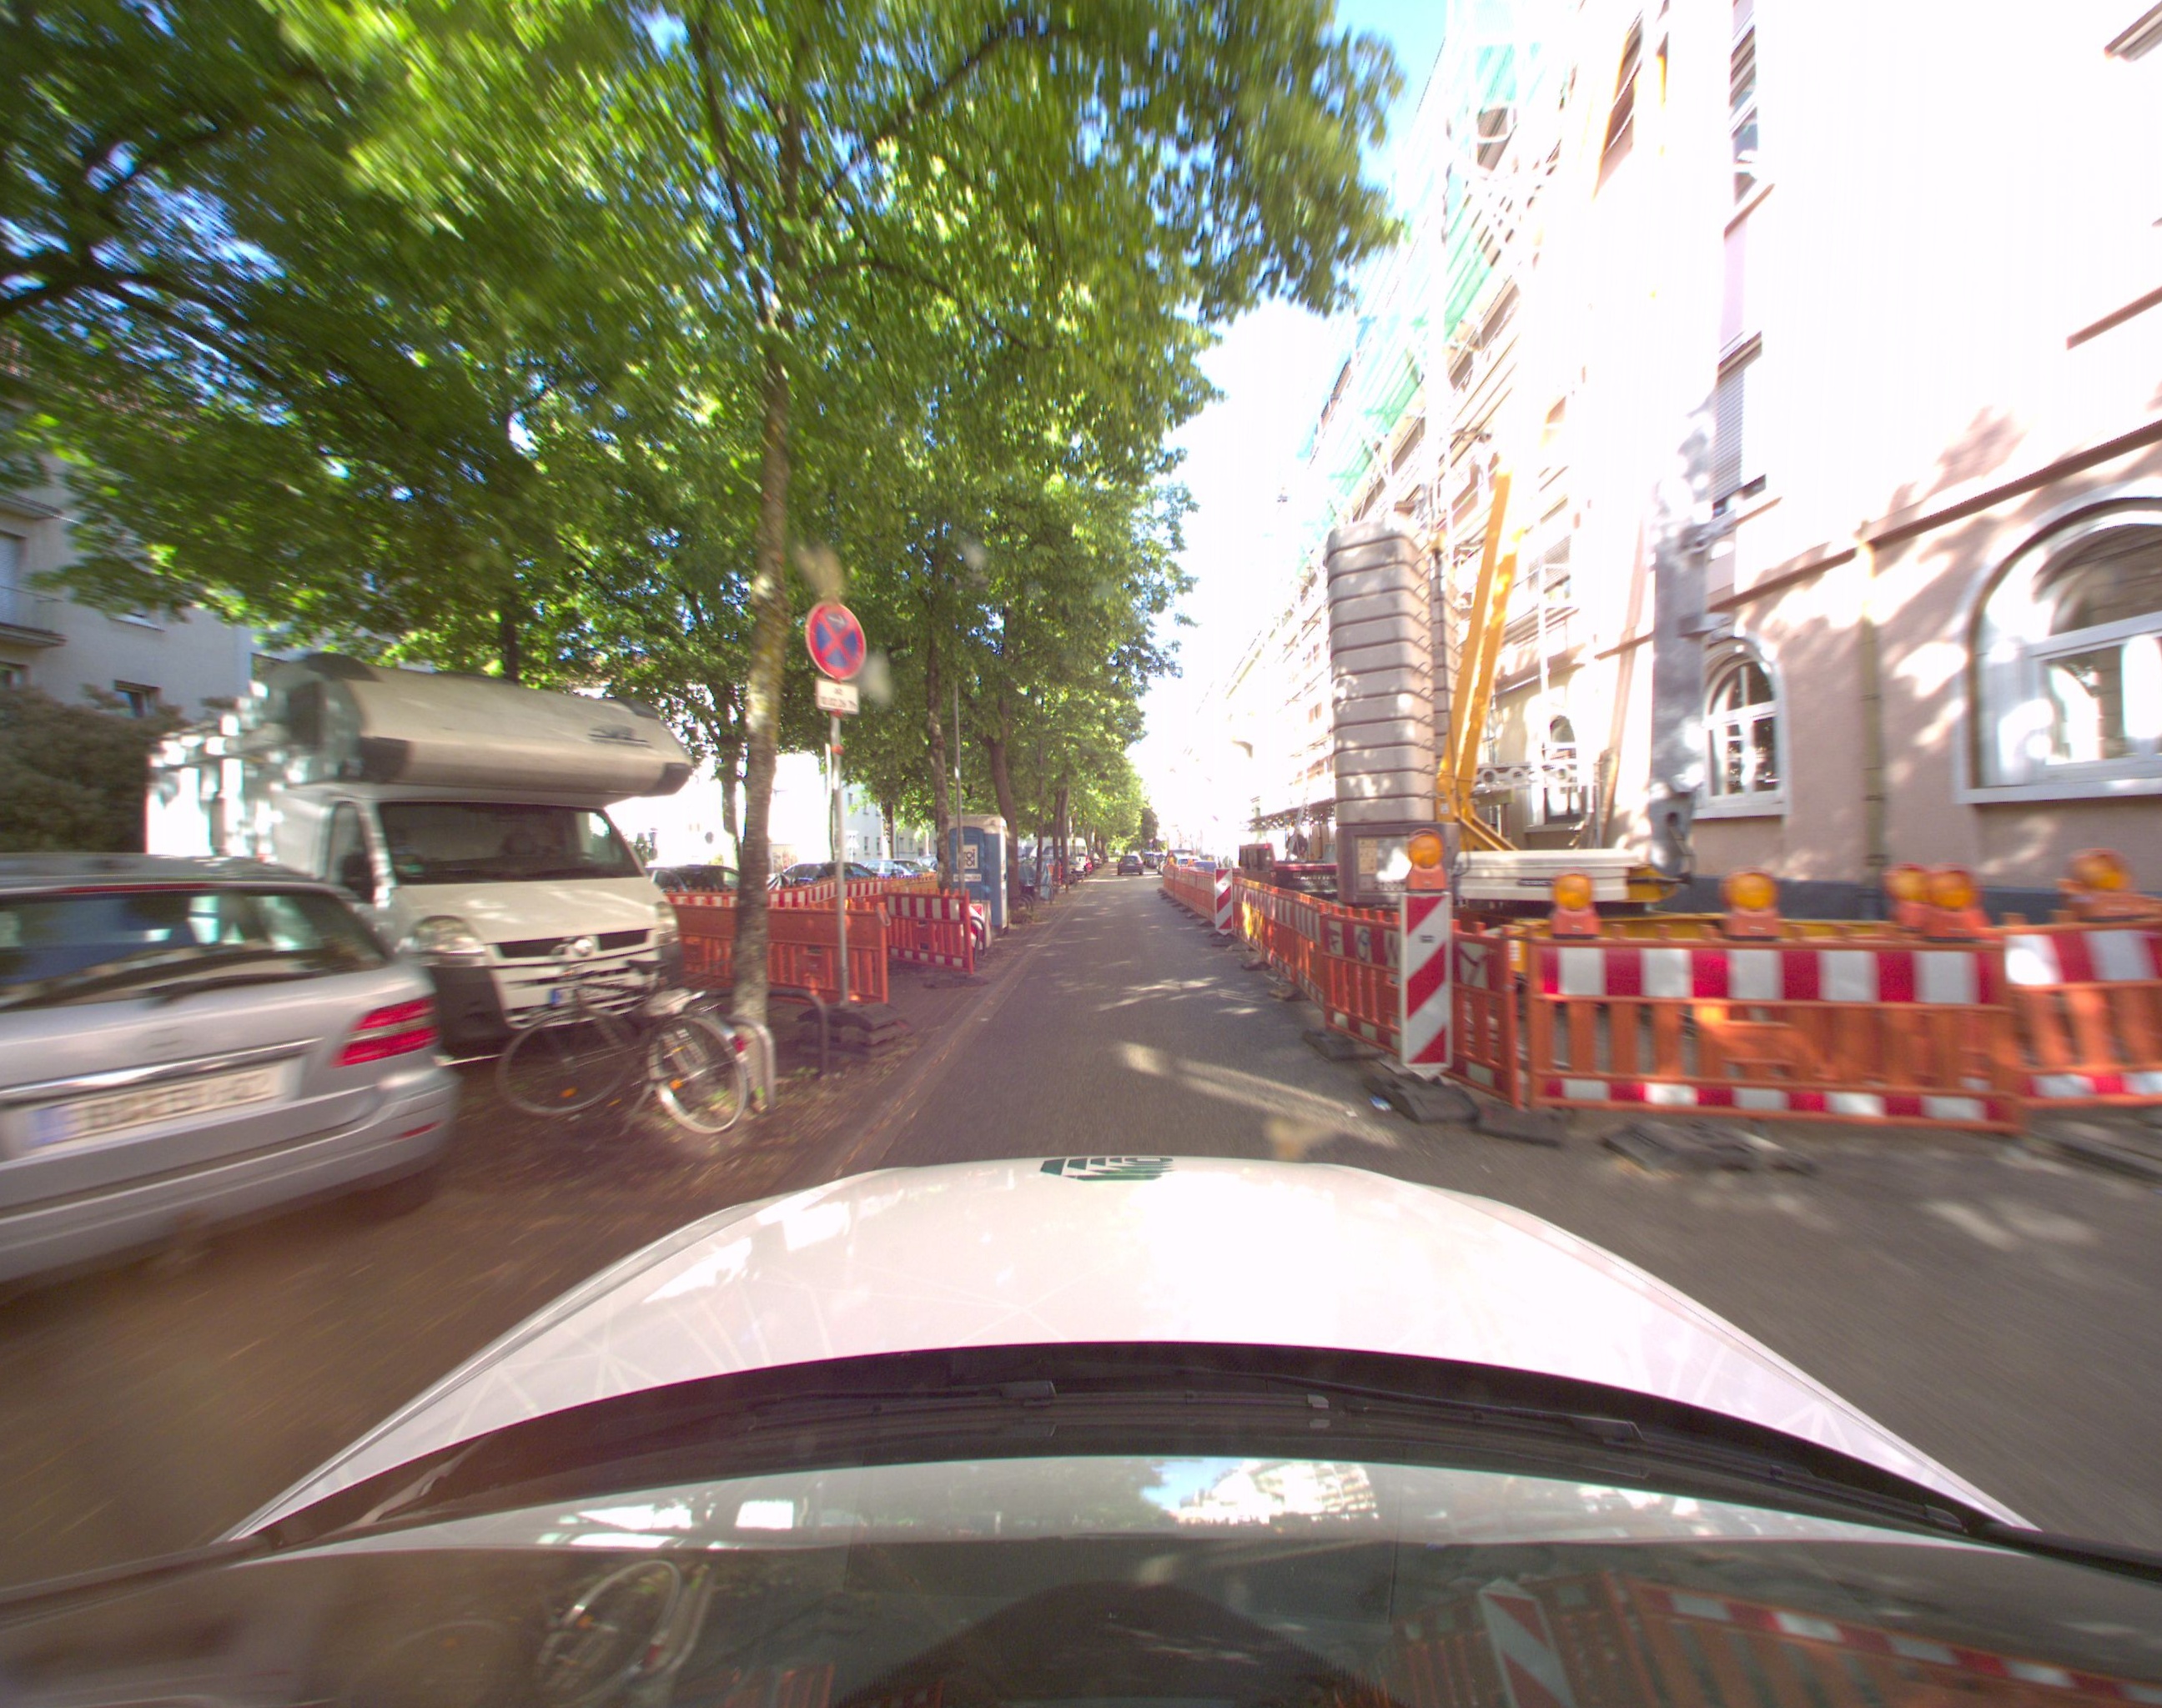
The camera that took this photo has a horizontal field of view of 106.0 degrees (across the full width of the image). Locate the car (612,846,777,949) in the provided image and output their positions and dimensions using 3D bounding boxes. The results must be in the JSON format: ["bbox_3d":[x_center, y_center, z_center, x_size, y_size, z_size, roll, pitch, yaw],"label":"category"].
[{"bbox_3d":[-7.182,0.766,15.078,2.954,1.717,1.431,-2,0,34],"label":"car"}]

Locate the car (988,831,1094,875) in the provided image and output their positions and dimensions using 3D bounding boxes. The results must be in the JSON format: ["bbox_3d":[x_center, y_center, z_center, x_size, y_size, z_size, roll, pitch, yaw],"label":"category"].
[{"bbox_3d":[-2.473,-0.025,49.314,6.246,2.559,2.353,-1,-1,35],"label":"car"}]

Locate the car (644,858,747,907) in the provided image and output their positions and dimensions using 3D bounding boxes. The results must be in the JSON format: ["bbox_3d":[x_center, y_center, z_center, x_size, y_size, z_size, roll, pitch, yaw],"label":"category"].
[{"bbox_3d":[-13.607,0.949,29.036,1.615,1.574,4.194,-1,0,1],"label":"car"}]

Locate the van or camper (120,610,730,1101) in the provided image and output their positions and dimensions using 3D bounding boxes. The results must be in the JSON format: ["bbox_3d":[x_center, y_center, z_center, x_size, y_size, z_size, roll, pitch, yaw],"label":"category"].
[{"bbox_3d":[-6.265,0.074,7.538,5.955,3.002,2.415,-2,0,31],"label":"van or camper"}]

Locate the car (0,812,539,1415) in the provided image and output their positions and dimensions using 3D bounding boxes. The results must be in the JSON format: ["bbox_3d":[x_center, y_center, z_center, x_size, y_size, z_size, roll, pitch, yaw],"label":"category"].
[{"bbox_3d":[-4.513,0.750,3.449,3.951,1.616,1.807,-2,0,24],"label":"car"}]

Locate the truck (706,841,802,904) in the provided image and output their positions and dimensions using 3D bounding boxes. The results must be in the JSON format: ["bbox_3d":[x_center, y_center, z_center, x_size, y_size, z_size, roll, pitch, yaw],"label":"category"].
[{"bbox_3d":[-13.549,0.724,34.084,1.913,2.409,4.270,-2,0,5],"label":"truck"}]

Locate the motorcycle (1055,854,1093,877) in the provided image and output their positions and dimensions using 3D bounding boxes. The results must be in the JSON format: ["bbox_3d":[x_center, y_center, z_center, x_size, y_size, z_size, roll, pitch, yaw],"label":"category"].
[{"bbox_3d":[-0.446,0.729,52.115,2.316,1.335,0.967,-2,0,-7],"label":"motorcycle"}]

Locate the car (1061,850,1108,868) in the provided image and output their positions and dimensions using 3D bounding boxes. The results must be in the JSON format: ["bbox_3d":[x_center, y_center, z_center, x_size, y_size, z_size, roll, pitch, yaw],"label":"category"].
[{"bbox_3d":[0.265,0.469,72.514,3.968,1.474,1.637,-2,0,38],"label":"car"}]

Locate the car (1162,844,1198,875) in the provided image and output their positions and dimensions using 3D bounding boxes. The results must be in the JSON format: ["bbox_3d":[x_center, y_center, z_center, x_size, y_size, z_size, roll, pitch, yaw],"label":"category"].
[{"bbox_3d":[6.045,0.340,50.099,1.764,1.794,3.991,-2,0,2],"label":"car"}]

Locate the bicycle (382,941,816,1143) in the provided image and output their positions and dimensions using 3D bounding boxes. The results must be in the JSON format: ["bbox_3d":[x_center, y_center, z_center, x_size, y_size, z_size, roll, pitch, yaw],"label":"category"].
[{"bbox_3d":[-2.743,1.030,4.639,2.359,0.978,0.503,-2,0,11],"label":"bicycle"}]

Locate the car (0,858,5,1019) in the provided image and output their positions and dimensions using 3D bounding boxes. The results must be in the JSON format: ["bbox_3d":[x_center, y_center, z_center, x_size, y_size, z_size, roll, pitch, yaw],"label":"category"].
[{"bbox_3d":[-14.353,1.063,8.087,1.615,2.013,4.267,-1,0,1],"label":"car"}]

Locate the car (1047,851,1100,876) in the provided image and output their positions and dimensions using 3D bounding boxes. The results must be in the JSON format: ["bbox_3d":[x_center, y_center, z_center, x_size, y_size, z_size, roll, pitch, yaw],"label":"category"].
[{"bbox_3d":[-0.563,0.675,56.369,1.671,1.618,3.837,-2,0,-37],"label":"car"}]

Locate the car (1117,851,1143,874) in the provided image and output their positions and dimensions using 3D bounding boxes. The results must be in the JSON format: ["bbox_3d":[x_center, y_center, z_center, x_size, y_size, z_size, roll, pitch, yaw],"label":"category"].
[{"bbox_3d":[3.514,0.574,57.372,1.706,1.483,4.149,-2,0,4],"label":"car"}]

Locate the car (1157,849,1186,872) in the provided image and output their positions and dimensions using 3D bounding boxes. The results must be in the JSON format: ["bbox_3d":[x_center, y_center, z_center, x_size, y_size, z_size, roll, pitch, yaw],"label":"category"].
[{"bbox_3d":[6.169,0.436,55.834,1.601,1.420,4.570,-2,0,2],"label":"car"}]

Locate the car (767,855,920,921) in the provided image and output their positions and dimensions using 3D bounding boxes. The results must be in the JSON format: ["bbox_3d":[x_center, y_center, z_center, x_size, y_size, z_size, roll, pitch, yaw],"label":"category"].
[{"bbox_3d":[-6.176,0.873,21.041,3.948,1.519,1.681,-2,0,36],"label":"car"}]

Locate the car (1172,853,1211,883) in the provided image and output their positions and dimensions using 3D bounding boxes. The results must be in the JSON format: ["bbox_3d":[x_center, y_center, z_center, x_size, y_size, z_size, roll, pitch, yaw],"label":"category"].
[{"bbox_3d":[5.969,0.716,44.368,1.697,1.511,4.287,-2,0,3],"label":"car"}]

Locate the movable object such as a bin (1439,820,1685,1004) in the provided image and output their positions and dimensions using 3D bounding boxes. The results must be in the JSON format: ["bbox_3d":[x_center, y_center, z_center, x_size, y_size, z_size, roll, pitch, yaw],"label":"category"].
[{"bbox_3d":[4.711,0.489,7.944,1.853,1.526,1.638,-2,0,37],"label":"movable object such as a bin"}]

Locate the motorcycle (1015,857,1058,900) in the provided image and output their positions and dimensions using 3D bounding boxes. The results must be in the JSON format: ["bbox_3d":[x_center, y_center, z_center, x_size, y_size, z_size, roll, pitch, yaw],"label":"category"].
[{"bbox_3d":[-1.418,0.775,26.426,0.626,1.324,2.239,0,0,18],"label":"motorcycle"}]

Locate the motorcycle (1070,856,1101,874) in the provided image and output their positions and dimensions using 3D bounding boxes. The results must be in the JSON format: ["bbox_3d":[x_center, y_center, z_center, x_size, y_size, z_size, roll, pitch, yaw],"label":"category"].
[{"bbox_3d":[0.345,0.812,60.000,2.133,1.230,0.884,-1,0,11],"label":"motorcycle"}]

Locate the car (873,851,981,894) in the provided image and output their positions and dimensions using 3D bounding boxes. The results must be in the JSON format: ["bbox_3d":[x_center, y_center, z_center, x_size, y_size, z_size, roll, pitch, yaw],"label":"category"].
[{"bbox_3d":[-6.392,0.786,33.746,4.082,1.626,1.708,-2,0,25],"label":"car"}]

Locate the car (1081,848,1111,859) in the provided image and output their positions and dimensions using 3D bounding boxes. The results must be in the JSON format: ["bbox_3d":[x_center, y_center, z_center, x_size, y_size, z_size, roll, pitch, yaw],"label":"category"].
[{"bbox_3d":[2.184,-0.048,120.127,4.090,1.466,1.859,0,-1,-11],"label":"car"}]

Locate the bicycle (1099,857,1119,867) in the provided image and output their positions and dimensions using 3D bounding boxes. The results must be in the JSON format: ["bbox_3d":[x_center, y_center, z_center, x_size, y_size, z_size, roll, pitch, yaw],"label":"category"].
[{"bbox_3d":[2.744,0.753,79.325,1.881,0.919,0.381,0,0,22],"label":"bicycle"}]

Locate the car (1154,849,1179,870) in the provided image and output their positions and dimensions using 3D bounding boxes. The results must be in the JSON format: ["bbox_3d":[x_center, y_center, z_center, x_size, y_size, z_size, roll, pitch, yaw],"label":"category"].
[{"bbox_3d":[6.316,0.383,60.459,1.592,1.492,3.971,-2,0,4],"label":"car"}]

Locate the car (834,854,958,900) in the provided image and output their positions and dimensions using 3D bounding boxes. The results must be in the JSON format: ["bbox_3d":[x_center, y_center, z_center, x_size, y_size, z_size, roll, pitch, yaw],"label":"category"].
[{"bbox_3d":[-6.314,0.784,27.743,3.866,1.461,1.586,-2,0,23],"label":"car"}]

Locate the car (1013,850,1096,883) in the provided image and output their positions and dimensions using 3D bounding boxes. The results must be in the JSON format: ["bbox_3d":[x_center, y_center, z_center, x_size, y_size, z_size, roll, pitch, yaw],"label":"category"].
[{"bbox_3d":[-1.393,0.642,41.684,4.047,1.525,1.713,-2,2,38],"label":"car"}]

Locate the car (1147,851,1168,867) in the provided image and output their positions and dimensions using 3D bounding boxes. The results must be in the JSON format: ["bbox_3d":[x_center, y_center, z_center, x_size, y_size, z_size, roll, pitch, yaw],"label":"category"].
[{"bbox_3d":[7.193,0.423,76.484,1.762,1.431,4.294,-2,0,3],"label":"car"}]

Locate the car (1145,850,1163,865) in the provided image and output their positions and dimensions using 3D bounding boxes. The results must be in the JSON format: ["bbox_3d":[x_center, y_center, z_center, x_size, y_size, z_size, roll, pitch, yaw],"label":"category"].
[{"bbox_3d":[7.731,0.370,86.569,1.685,1.468,4.008,0,0,3],"label":"car"}]
